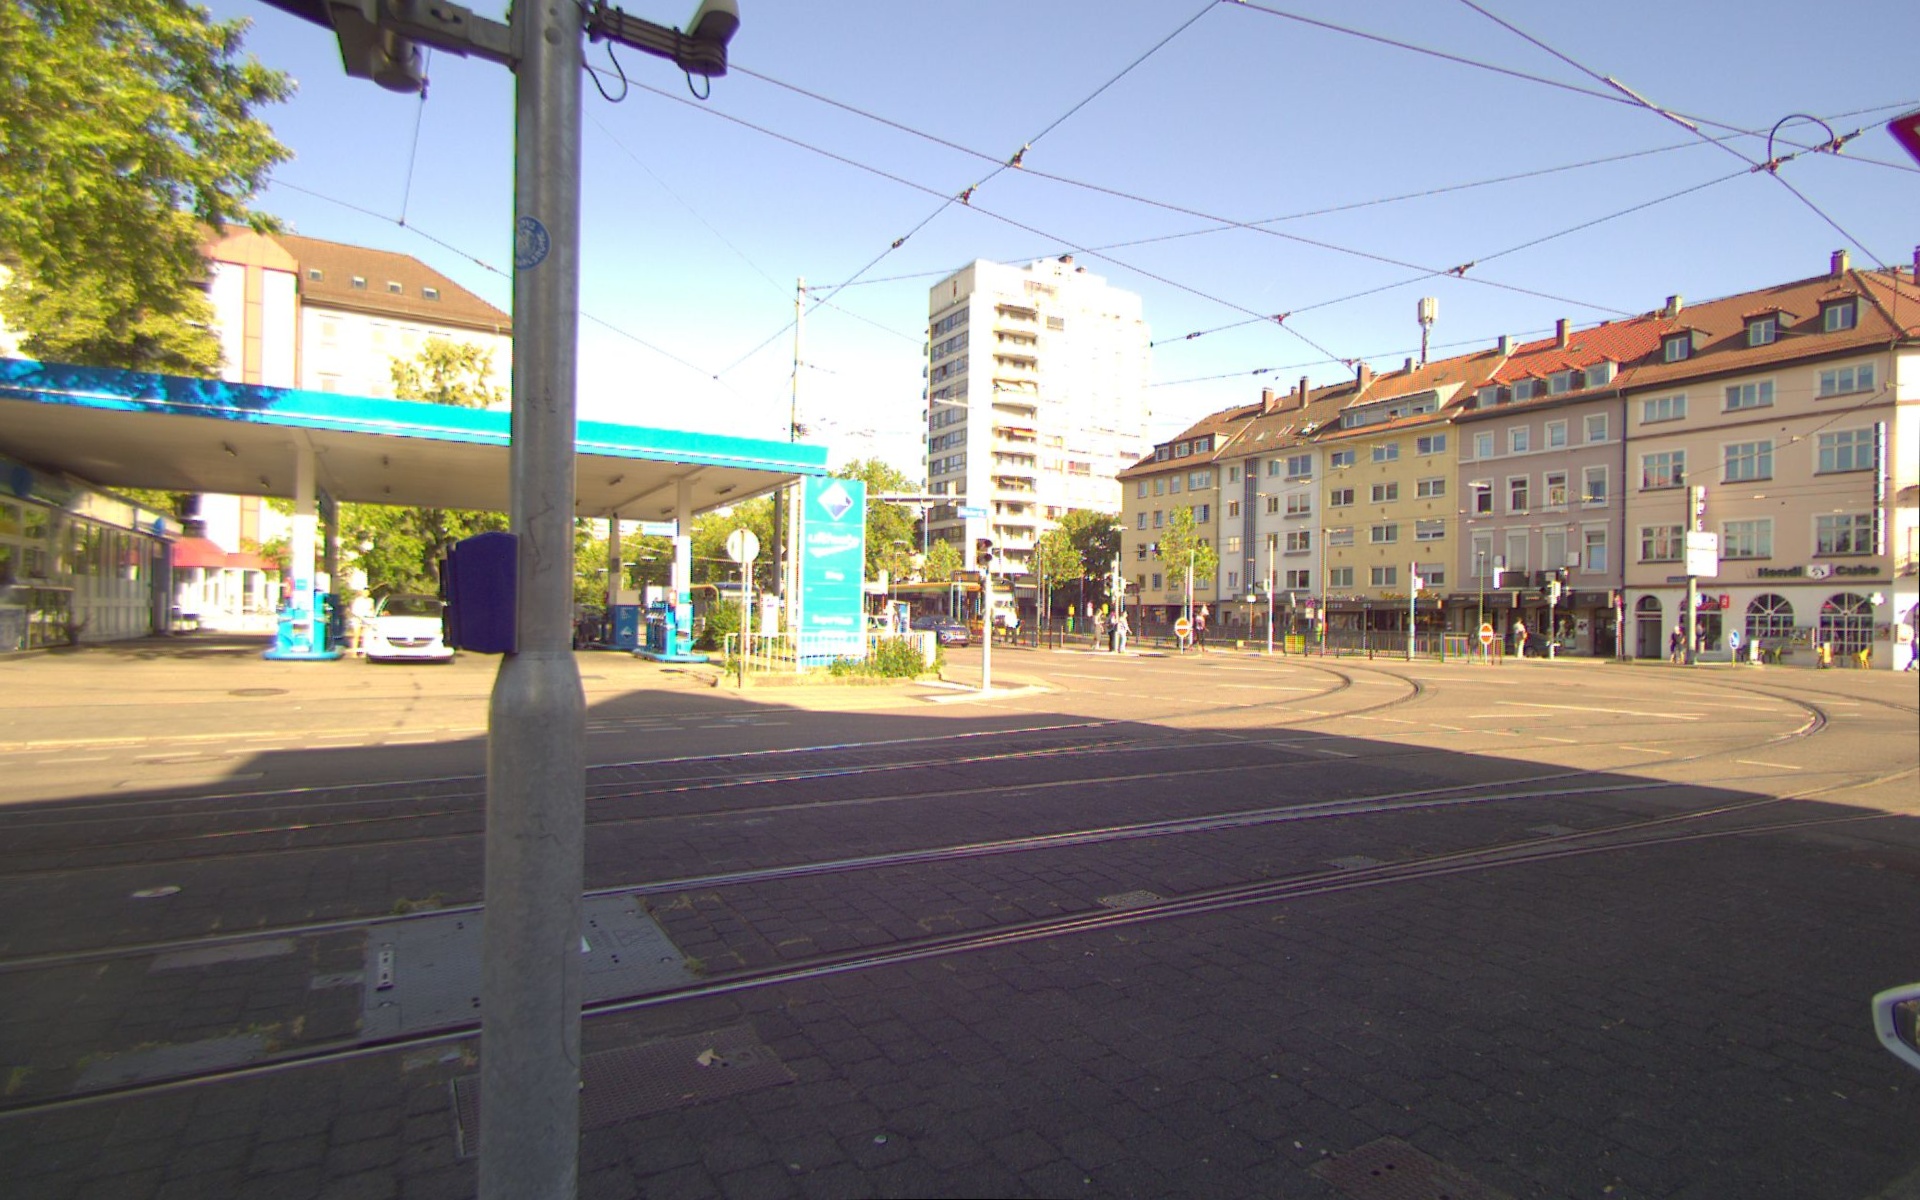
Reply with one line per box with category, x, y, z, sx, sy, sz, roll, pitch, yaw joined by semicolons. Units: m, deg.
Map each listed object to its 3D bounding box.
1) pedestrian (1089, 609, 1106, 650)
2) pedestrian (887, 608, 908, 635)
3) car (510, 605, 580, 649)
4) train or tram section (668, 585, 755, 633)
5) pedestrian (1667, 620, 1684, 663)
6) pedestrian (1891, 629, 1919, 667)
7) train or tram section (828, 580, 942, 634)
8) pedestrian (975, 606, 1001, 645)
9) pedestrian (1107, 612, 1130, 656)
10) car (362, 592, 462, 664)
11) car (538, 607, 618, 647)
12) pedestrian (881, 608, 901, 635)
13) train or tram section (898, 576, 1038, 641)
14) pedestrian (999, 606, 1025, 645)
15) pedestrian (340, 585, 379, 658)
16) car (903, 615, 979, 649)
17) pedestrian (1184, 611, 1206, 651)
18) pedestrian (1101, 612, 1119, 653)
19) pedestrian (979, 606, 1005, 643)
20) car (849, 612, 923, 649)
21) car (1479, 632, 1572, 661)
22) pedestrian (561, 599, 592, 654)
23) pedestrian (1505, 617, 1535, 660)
pedestrian;5.825;1.262;42.506;0.489;1.721;0.555;1;-1;-23
pedestrian;-3.833;1.307;61.618;0.902;1.646;0.887;1;-1;-33
car;-13.499;0.865;32.584;1.752;1.332;3.520;1;-1;-28
train or tram section;-15.029;0.453;60.045;2.233;2.627;10.398;2;0;-30
pedestrian;34.213;1.983;48.028;0.498;2.040;0.507;1;-1;-27
pedestrian;40.929;2.064;43.131;1.047;1.612;1.042;1;-1;19
train or tram section;-5.249;0.521;67.588;3.252;3.335;10.157;1;-1;-33
pedestrian;1.334;1.226;48.324;0.902;1.826;0.887;1;-1;-33
pedestrian;6.209;1.322;39.341;0.734;1.721;0.553;0;-1;35
car;-12.269;0.608;22.440;1.773;1.461;3.968;2;-1;-30
car;-17.201;1.213;45.389;1.960;1.685;4.001;1;-1;2
pedestrian;-4.129;1.286;60.145;0.902;1.646;0.887;1;-1;-33
train or tram section;0.232;0.518;58.970;3.252;3.459;10.157;1;-1;-33
pedestrian;2.483;1.218;47.823;0.902;1.826;0.887;1;-1;-33
pedestrian;-13.898;0.506;23.242;0.642;1.652;0.803;1;-1;-41
car;-0.956;1.492;48.355;1.937;1.475;4.077;1;0;-30
pedestrian;10.216;1.331;43.668;0.687;1.721;0.779;0;-1;37
pedestrian;6.102;1.326;40.802;0.698;1.646;0.800;1;-1;8
pedestrian;1.577;1.214;49.553;0.902;1.826;0.887;1;-1;-33
car;-3.504;1.394;46.813;1.976;1.615;3.970;1;-1;-29
car;30.777;2.495;54.722;1.980;1.483;3.962;1;-1;-34
pedestrian;-12.983;0.901;34.003;0.899;1.826;0.890;1;-1;-24
pedestrian;24.498;1.694;43.963;0.801;1.842;0.871;1;-1;-29
